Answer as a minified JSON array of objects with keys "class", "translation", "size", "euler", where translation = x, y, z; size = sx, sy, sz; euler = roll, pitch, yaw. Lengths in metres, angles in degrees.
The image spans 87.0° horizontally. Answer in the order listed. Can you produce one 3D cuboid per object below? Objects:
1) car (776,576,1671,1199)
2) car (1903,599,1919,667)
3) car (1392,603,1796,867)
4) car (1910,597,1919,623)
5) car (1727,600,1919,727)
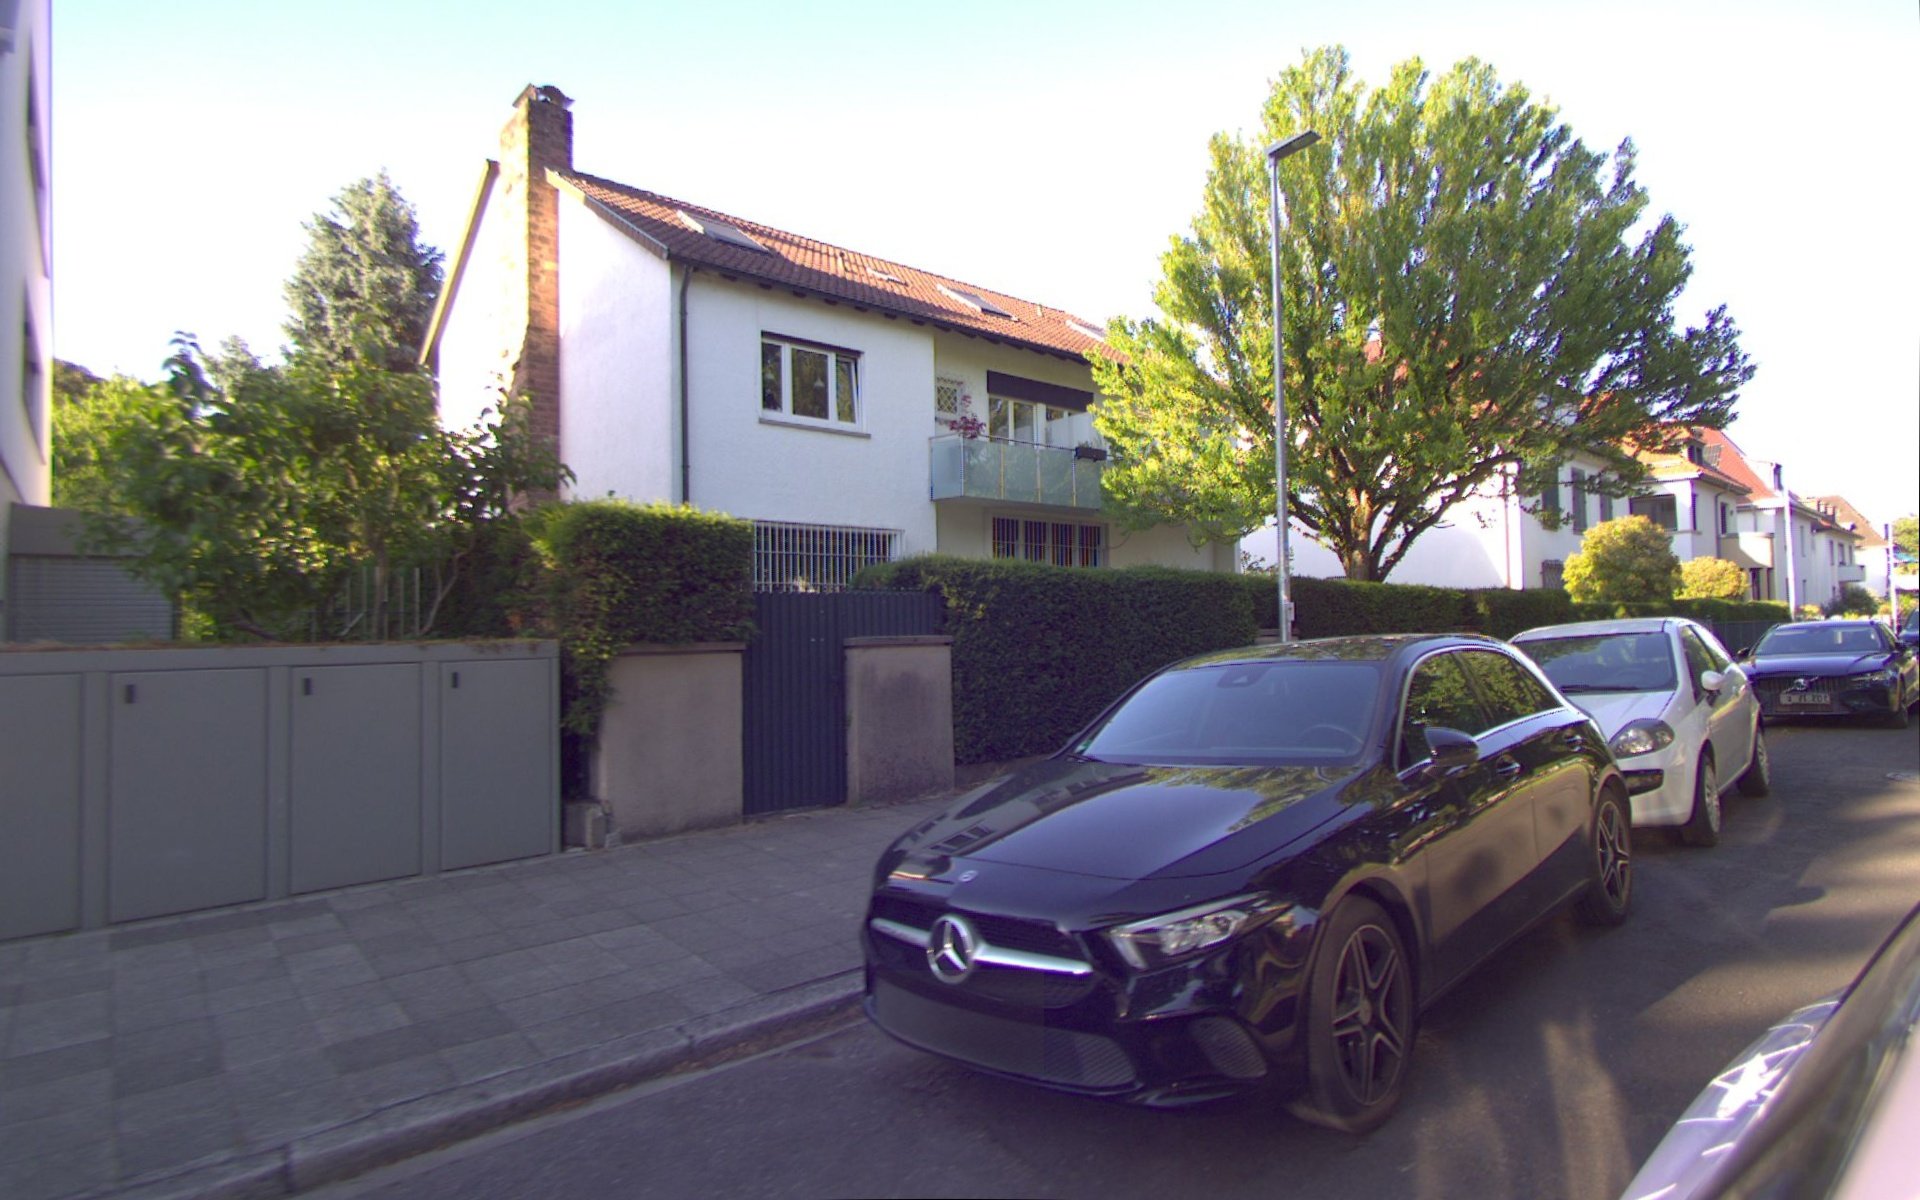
[{"class":"car","translation":[1.488,0.755,4.376],"size":[4.217,1.496,1.749],"euler":[0,-4,-44]},{"class":"car","translation":[27.241,0.770,27.409],"size":[4.781,1.760,1.995],"euler":[0,-5,-43]},{"class":"car","translation":[5.002,0.857,7.759],"size":[1.690,1.503,3.865],"euler":[-8,-6,45]},{"class":"car","translation":[74.663,0.730,76.520],"size":[1.967,1.953,3.989],"euler":[1,-3,-44]},{"class":"car","translation":[12.653,0.795,14.453],"size":[4.594,1.511,1.795],"euler":[-1,-2,-42]}]
